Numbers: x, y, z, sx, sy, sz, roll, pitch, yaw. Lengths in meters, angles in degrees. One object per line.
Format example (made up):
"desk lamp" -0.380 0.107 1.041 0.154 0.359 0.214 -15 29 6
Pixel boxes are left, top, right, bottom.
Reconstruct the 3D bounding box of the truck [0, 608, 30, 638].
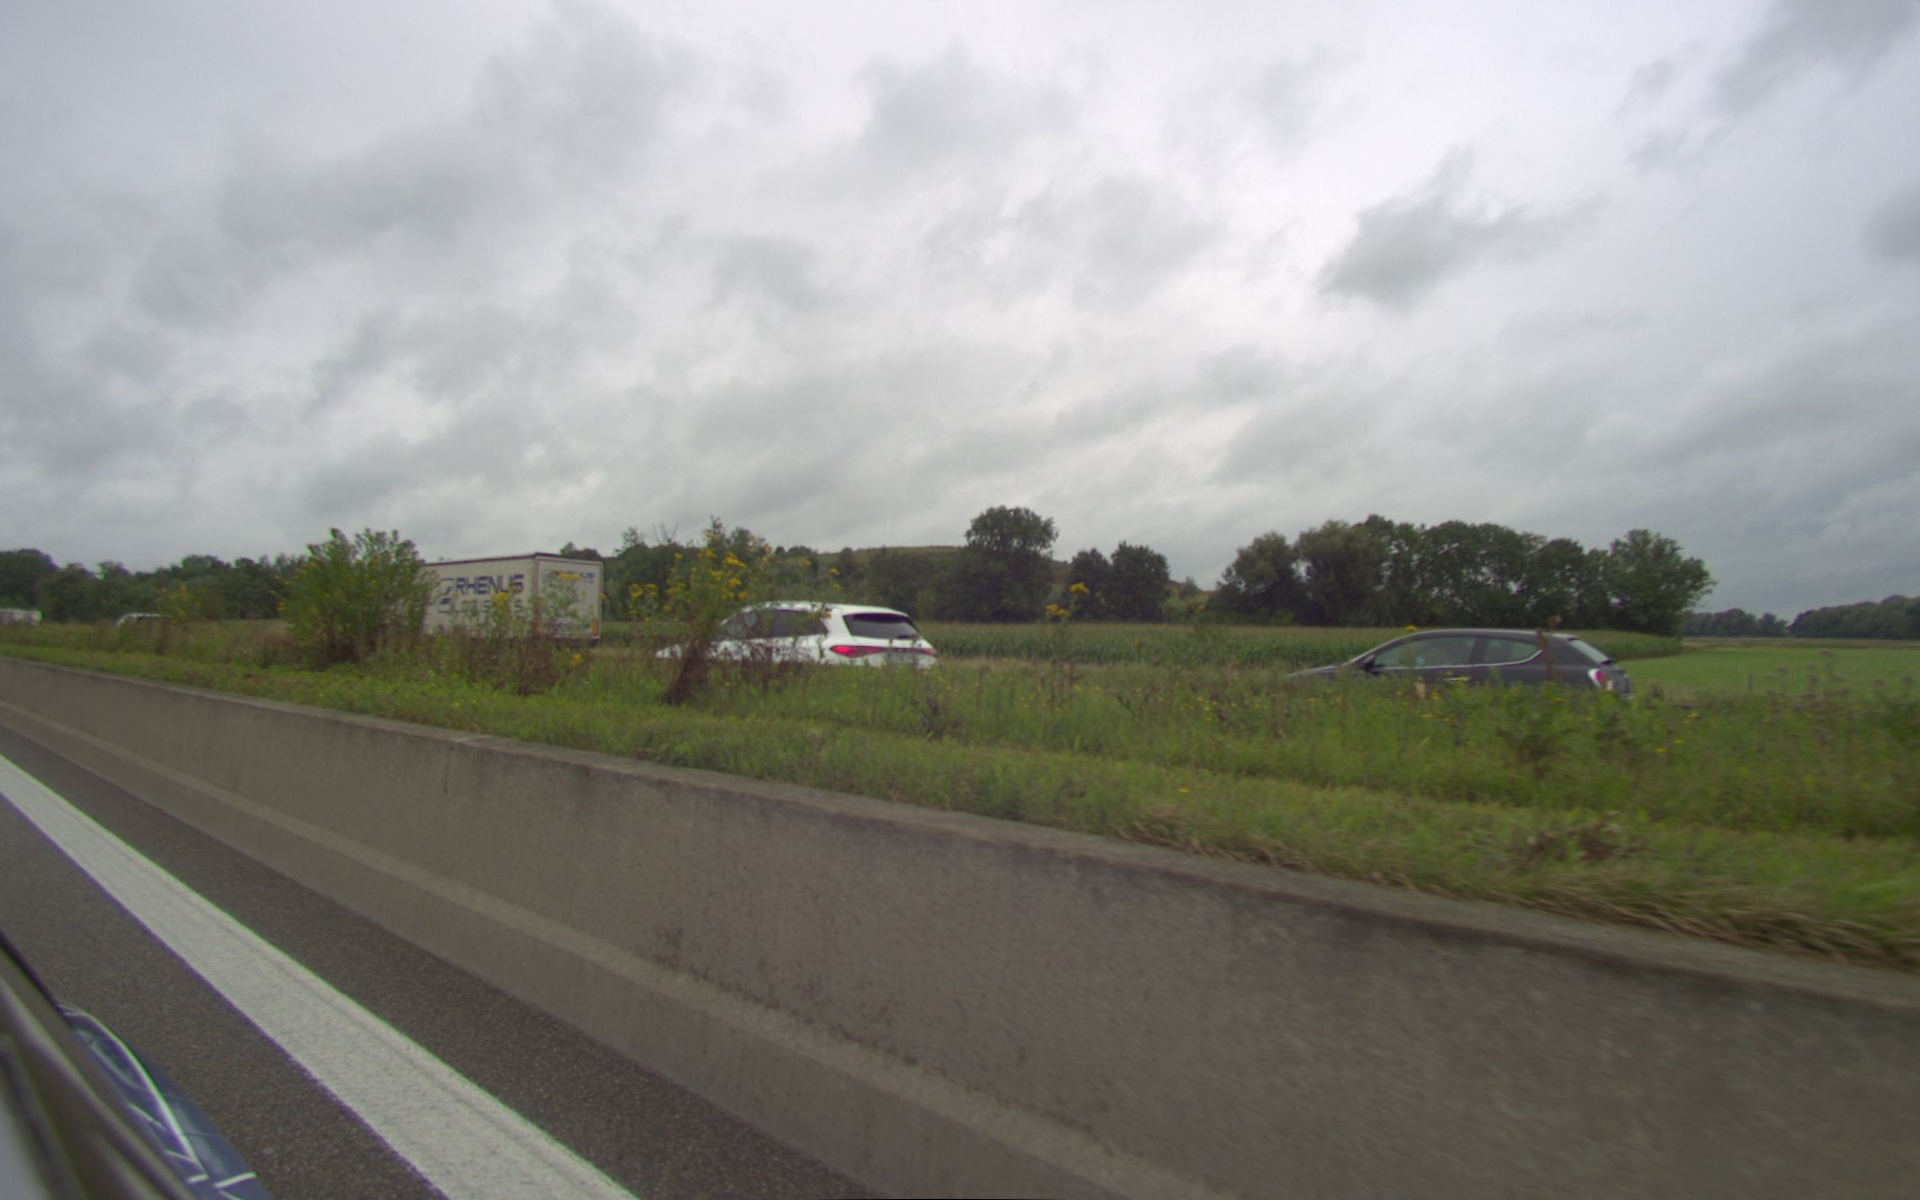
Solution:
"truck" -108.759 2.606 115.943 4.517 3.369 2.728 -1 0 40

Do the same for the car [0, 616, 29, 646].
"car" -66.527 2.145 70.453 5.066 2.029 1.973 -1 -1 41

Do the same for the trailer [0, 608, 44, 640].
"trailer" -104.199 2.591 112.089 9.919 3.353 2.759 -1 0 40

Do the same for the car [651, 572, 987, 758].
"car" -1.949 0.784 13.215 4.346 2.029 1.973 -1 -3 41

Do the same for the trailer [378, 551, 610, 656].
"trailer" -18.204 0.180 38.719 13.234 3.454 2.884 -1 0 41

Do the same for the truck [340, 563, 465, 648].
"truck" -24.272 0.243 43.995 5.624 3.454 2.940 -1 0 40

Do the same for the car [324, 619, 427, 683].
"car" -19.623 1.668 33.927 3.998 2.029 1.773 -1 -3 41

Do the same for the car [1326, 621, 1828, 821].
"car" 6.469 1.119 10.910 4.346 1.710 1.973 -1 -3 41

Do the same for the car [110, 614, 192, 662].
"car" -33.460 1.548 41.829 4.798 1.852 1.800 -1 -3 41
